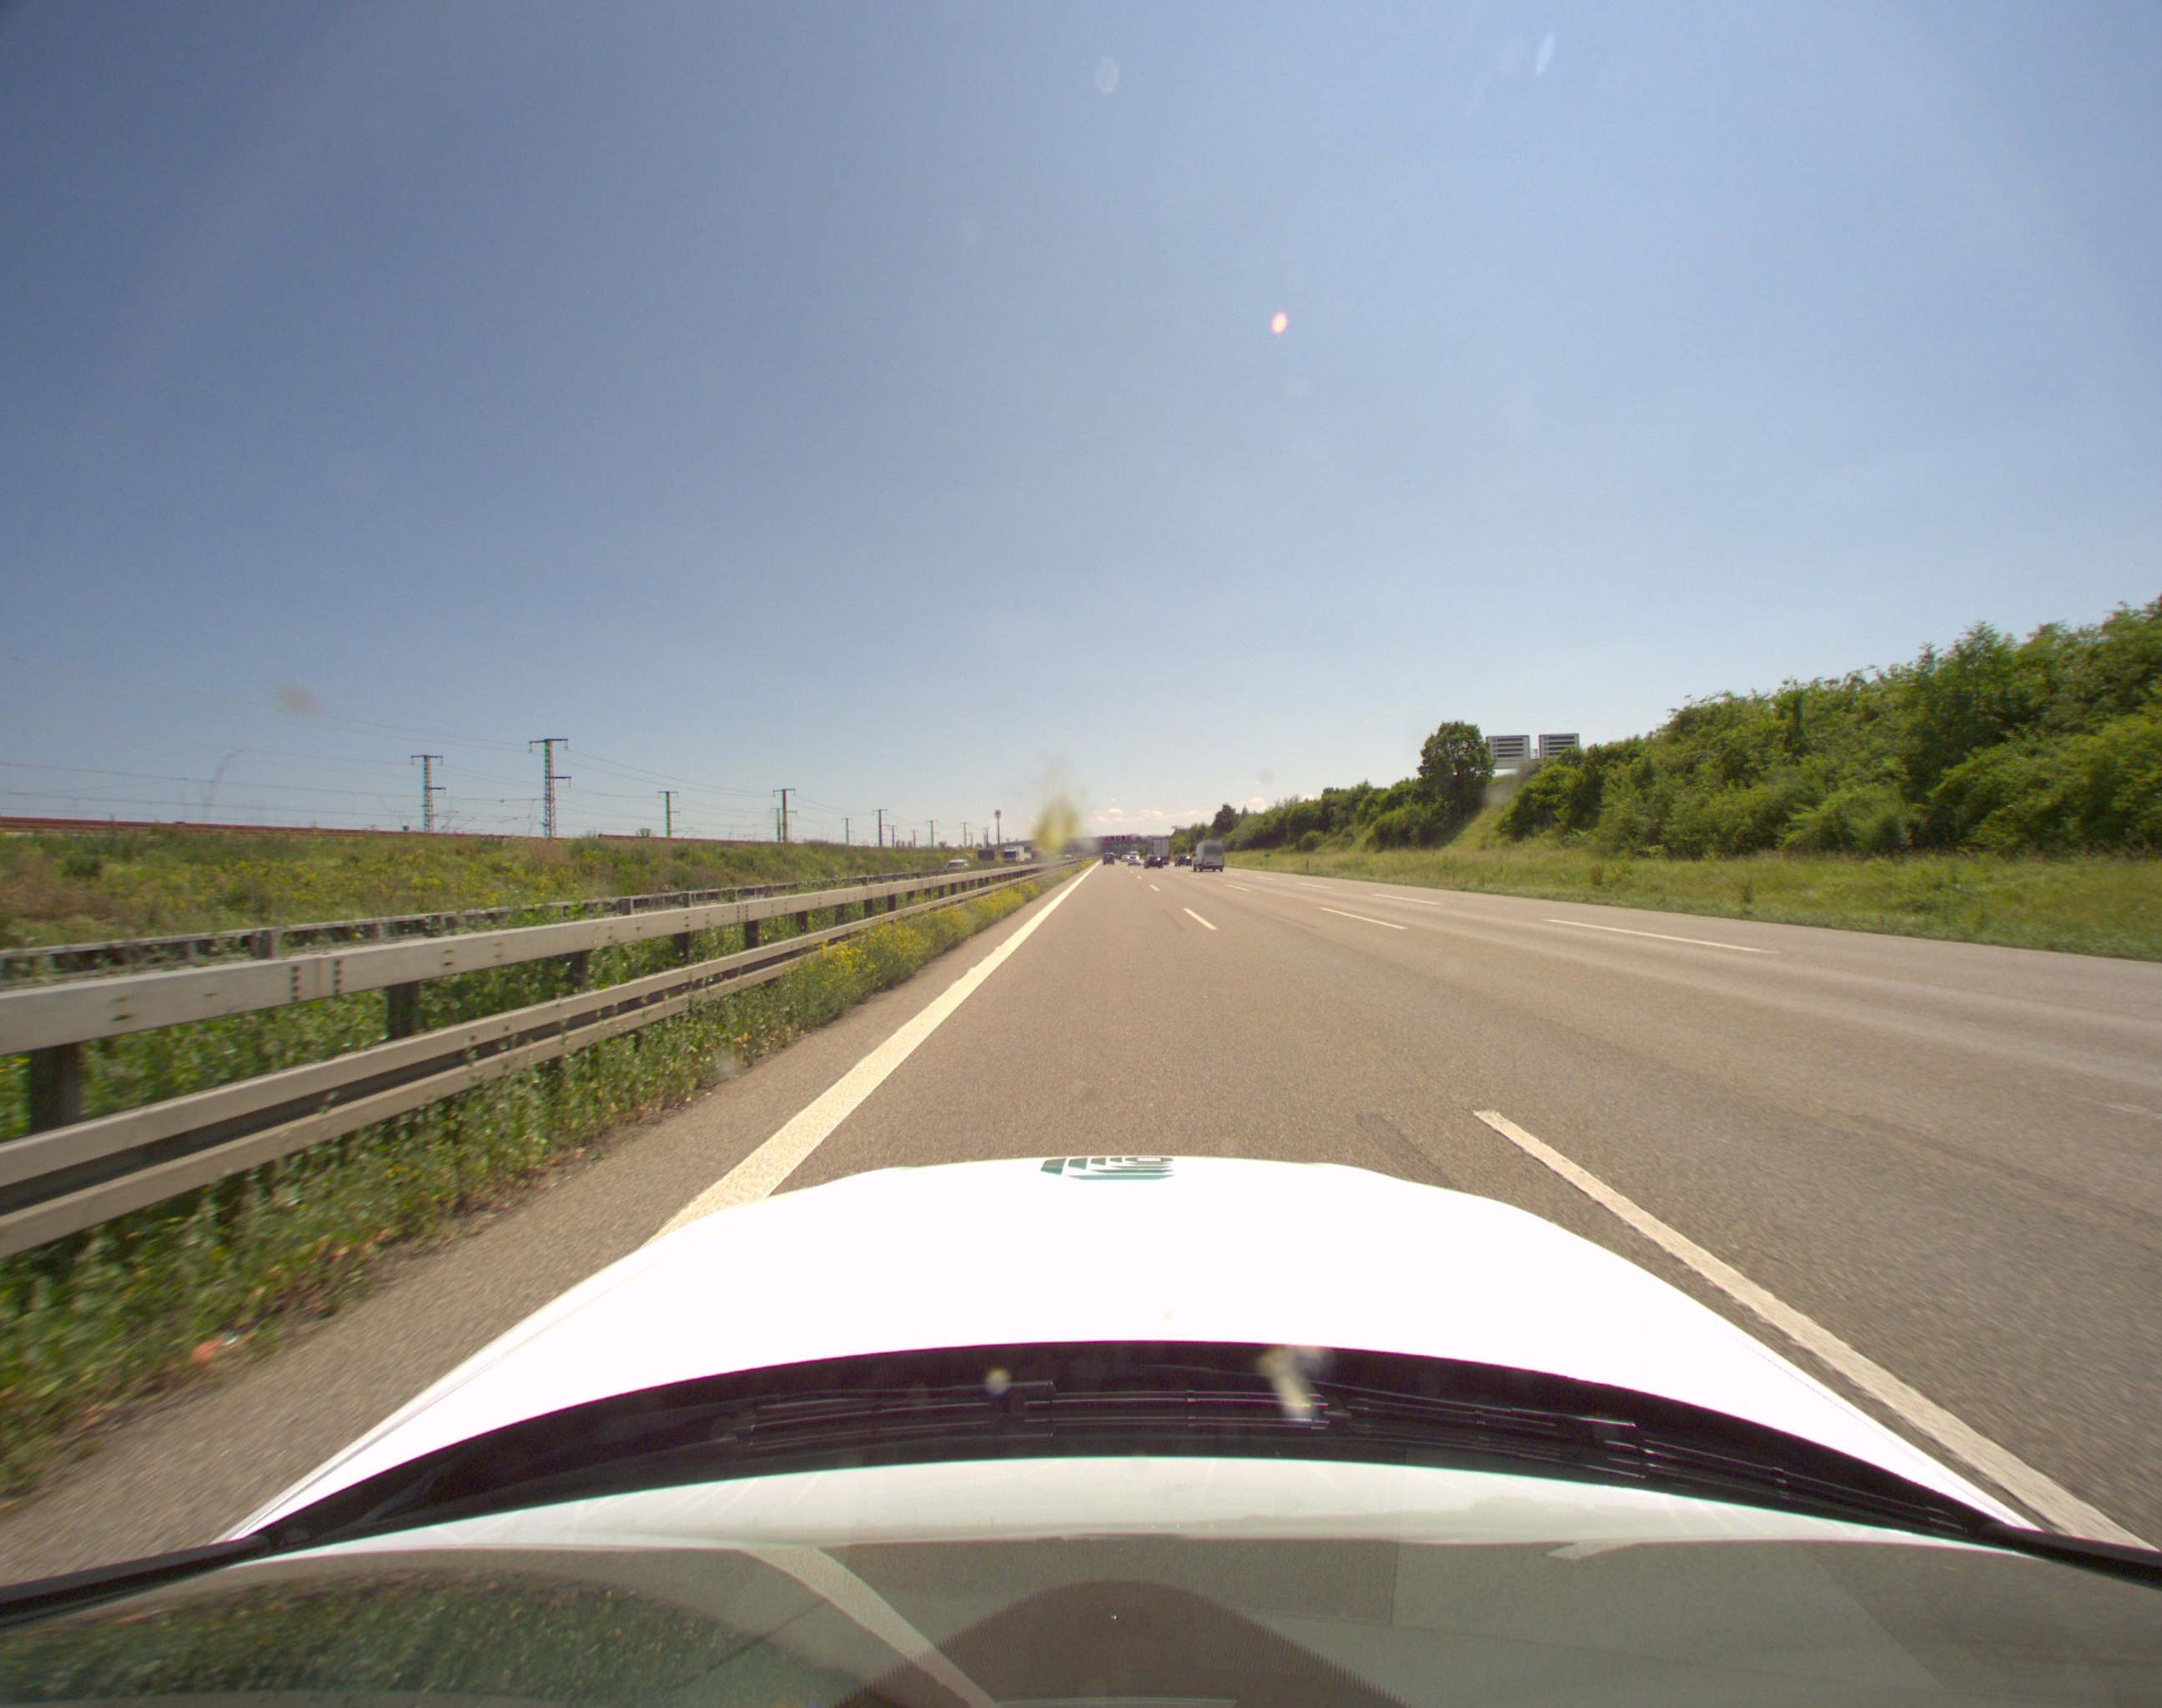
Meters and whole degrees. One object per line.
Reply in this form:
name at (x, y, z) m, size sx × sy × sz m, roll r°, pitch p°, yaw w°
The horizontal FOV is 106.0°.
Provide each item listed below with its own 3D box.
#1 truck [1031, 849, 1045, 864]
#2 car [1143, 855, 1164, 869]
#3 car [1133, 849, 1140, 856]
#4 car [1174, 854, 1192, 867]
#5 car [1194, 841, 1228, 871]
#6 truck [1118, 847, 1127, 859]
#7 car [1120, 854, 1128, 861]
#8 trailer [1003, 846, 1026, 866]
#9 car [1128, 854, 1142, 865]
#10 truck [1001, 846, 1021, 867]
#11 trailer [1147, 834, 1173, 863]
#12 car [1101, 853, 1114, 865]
truck at (-9.771, 0.569, 186.423) m, size 2.777 × 3.521 × 4.715 m, roll 0°, pitch 0°, yaw 2°
car at (8.101, 0.957, 91.478) m, size 1.987 × 1.508 × 3.998 m, roll 0°, pitch -1°, yaw -1°
car at (17.048, -0.464, 249.888) m, size 1.985 × 2.013 × 4.441 m, roll -2°, pitch 0°, yaw 3°
car at (13.119, 0.820, 104.830) m, size 1.986 × 1.596 × 4.001 m, roll 0°, pitch -1°, yaw 1°
car at (11.467, 0.136, 72.259) m, size 2.266 × 2.528 × 5.400 m, roll -1°, pitch 0°, yaw 1°
truck at (11.564, -0.291, 226.716) m, size 2.346 × 3.416 × 6.060 m, roll -1°, pitch 0°, yaw 2°
car at (9.359, 0.796, 177.347) m, size 1.873 × 1.526 × 4.003 m, roll -1°, pitch -1°, yaw 3°
trailer at (-11.385, 0.358, 139.562) m, size 2.777 × 3.388 × 9.587 m, roll 0°, pitch 0°, yaw 2°
car at (7.708, 0.763, 115.991) m, size 1.872 × 1.526 × 4.005 m, roll -1°, pitch -1°, yaw 5°
truck at (-11.580, 0.354, 134.820) m, size 2.777 × 3.388 × 4.715 m, roll 0°, pitch 0°, yaw 2°
trailer at (11.879, -0.844, 122.834) m, size 3.165 × 4.059 × 9.444 m, roll -2°, pitch 0°, yaw 2°
car at (4.119, 0.823, 126.543) m, size 1.873 × 1.775 × 4.002 m, roll -2°, pitch -1°, yaw 2°
